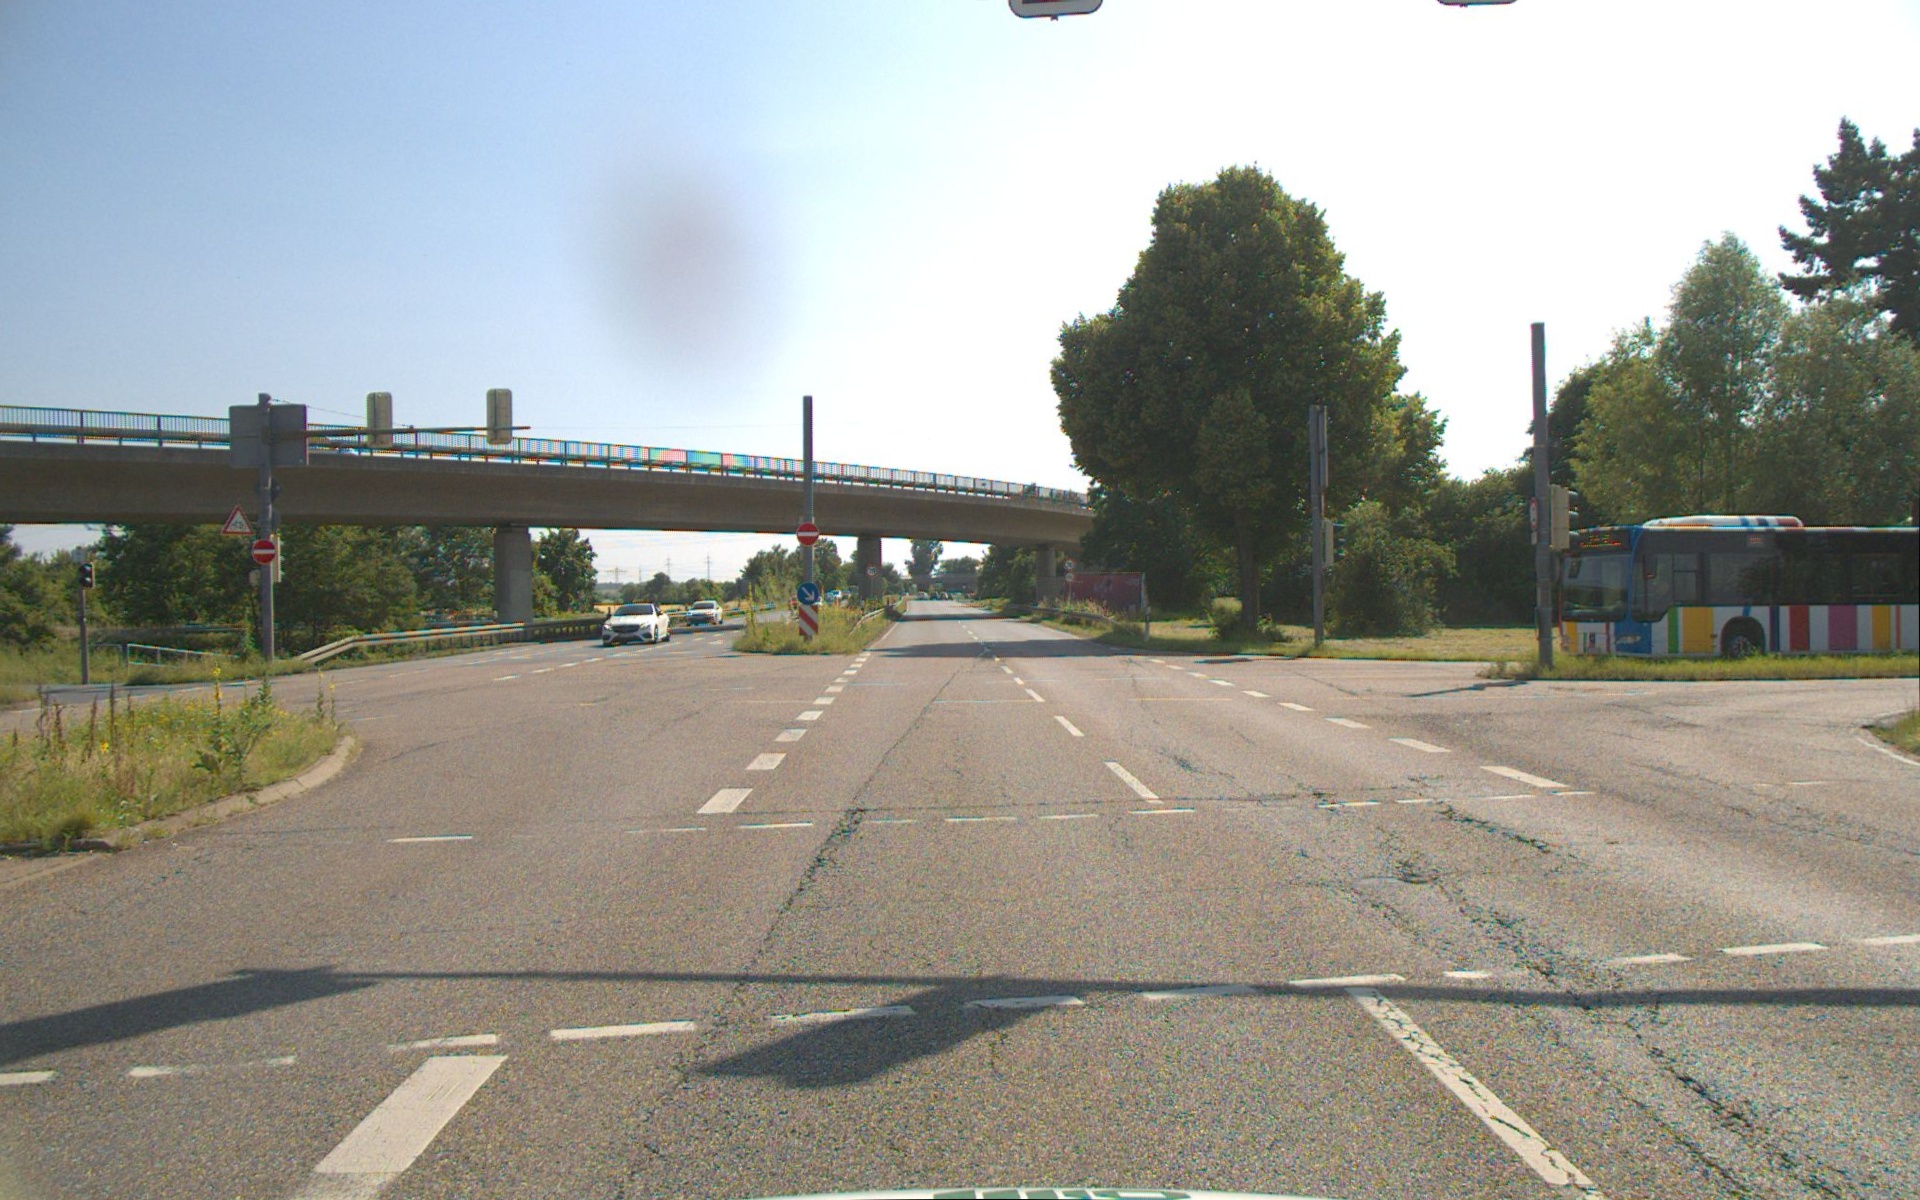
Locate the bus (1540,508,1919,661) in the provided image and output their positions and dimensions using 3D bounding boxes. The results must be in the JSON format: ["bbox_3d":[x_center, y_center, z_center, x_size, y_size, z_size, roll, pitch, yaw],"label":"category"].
[{"bbox_3d":[18.457,-0.419,35.615,11.745,2.927,2.929,-2,0,-16],"label":"bus"}]

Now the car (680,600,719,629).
[{"bbox_3d":[-15.551,0.863,98.775,1.754,1.656,3.998,-2,0,-2],"label":"car"}]

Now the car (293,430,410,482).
[{"bbox_3d":[-22.432,-5.292,61.073,1.709,1.495,3.734,1,-1,37],"label":"car"}]

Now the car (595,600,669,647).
[{"bbox_3d":[-11.566,0.804,58.535,1.819,1.473,4.239,-3,0,-2],"label":"car"}]
